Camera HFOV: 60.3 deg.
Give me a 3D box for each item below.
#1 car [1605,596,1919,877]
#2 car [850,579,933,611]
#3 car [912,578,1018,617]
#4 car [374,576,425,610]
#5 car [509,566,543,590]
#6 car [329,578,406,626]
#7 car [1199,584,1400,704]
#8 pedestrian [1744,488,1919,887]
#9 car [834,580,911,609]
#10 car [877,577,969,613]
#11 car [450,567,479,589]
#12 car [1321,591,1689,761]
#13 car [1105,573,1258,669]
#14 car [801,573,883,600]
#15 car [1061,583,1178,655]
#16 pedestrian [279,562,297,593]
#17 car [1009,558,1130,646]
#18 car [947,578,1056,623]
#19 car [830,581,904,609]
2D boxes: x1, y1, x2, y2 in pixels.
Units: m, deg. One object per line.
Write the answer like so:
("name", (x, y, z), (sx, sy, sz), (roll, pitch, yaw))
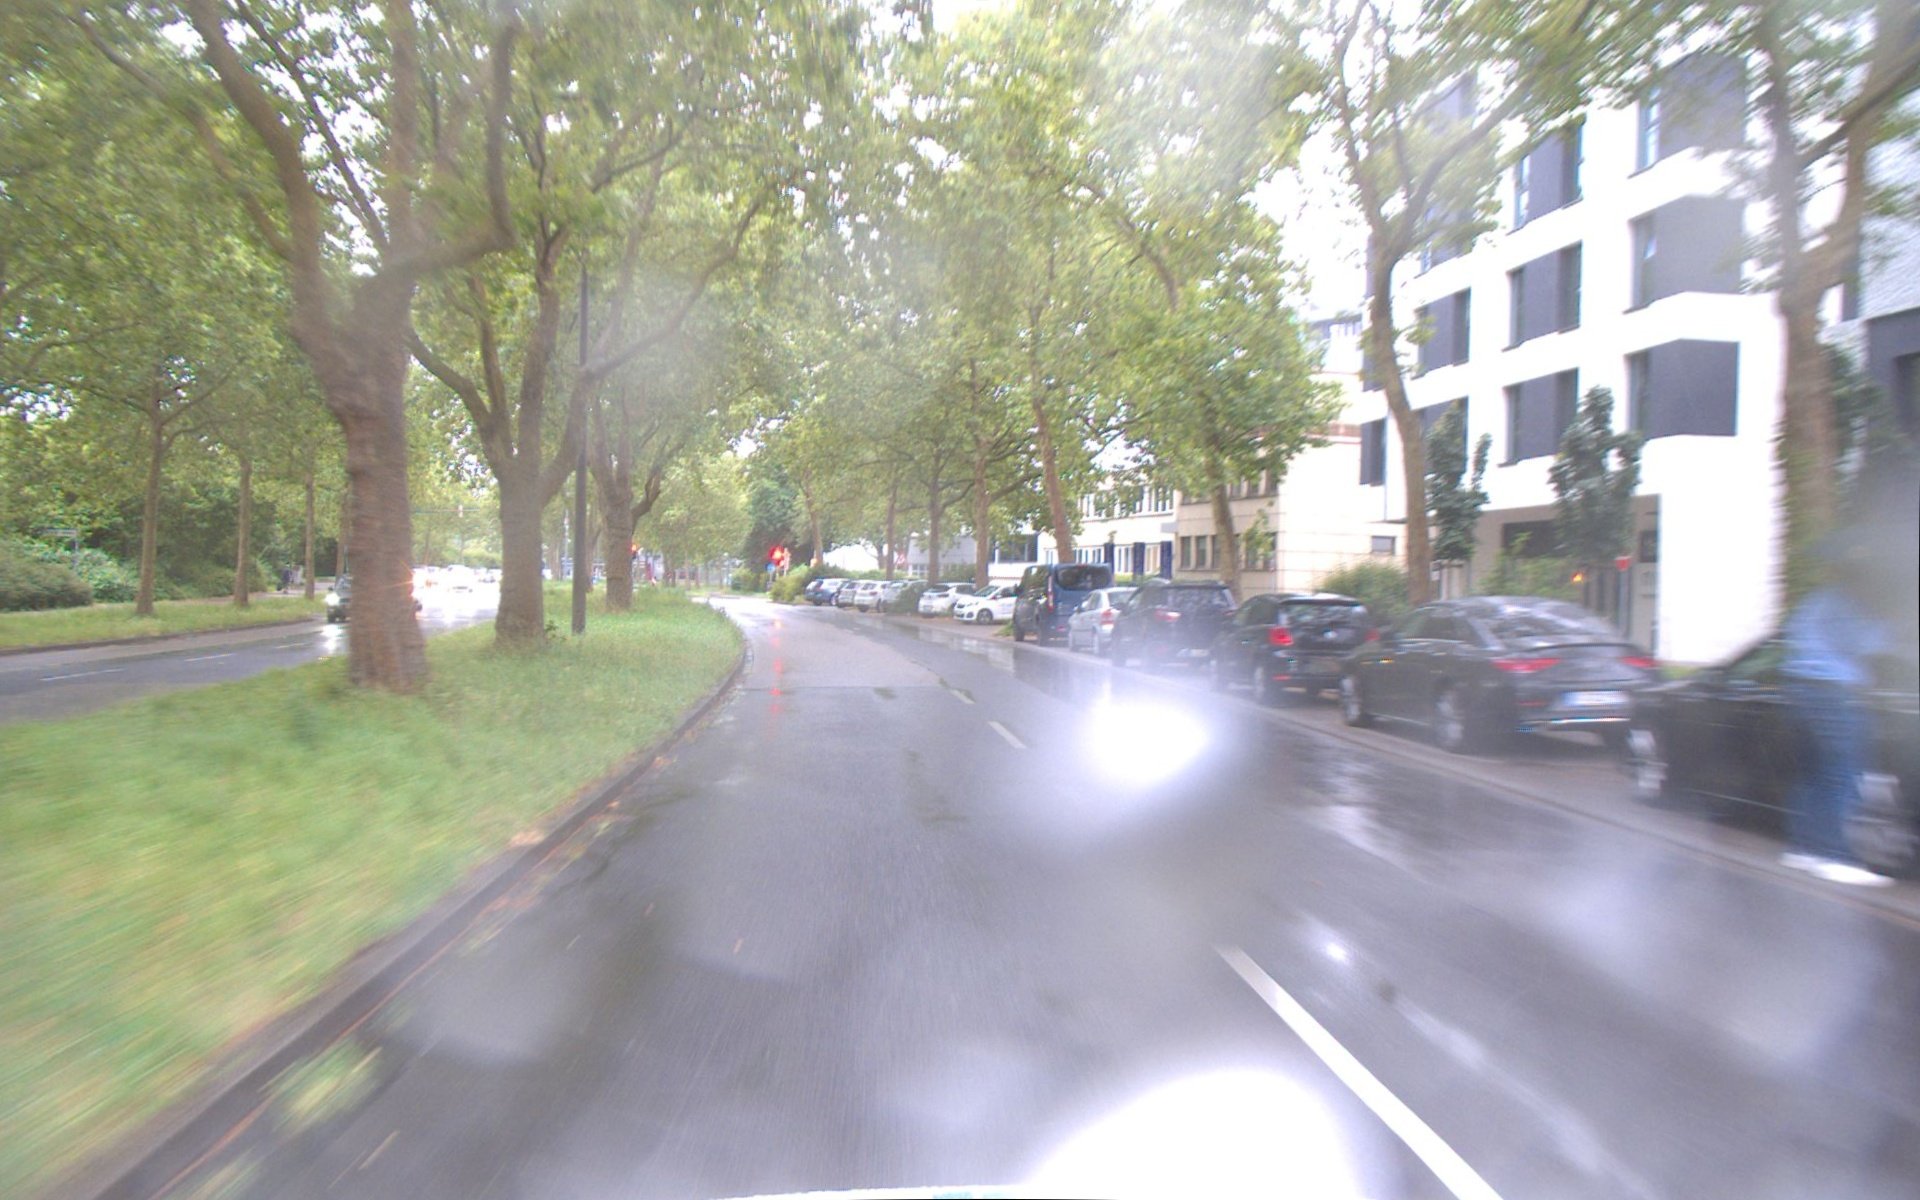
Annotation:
("car", (5.885, 0.731, 10.370), (1.708, 1.453, 4.867), (1, 0, -1))
("car", (-3.243, -0.226, 78.461), (3.656, 1.441, 1.725), (1, 0, -39))
("car", (0.219, -0.077, 64.317), (4.004, 1.453, 1.722), (1, 0, -43))
("car", (-25.628, -0.315, 75.707), (1.712, 1.485, 3.831), (1, 0, -12))
("car", (-31.627, -1.602, 120.591), (1.720, 1.679, 4.273), (1, 0, -24))
("car", (-20.655, 0.053, 57.785), (1.711, 1.588, 4.359), (1, 0, -9))
("car", (4.613, 0.542, 23.069), (1.709, 1.502, 4.079), (1, 0, -4))
("pedestrian", (4.942, 0.444, 9.112), (0.891, 2.049, 0.821), (1, 0, -41))
("car", (-4.410, -0.277, 83.870), (3.662, 1.441, 1.748), (1, 0, -43))
("car", (-1.636, -0.207, 73.508), (4.007, 1.566, 1.721), (1, 0, -44))
("car", (-35.344, -1.563, 117.902), (1.717, 1.502, 4.385), (1, 0, -19))
("car", (5.359, 0.660, 17.091), (1.709, 1.453, 5.098), (1, 0, -5))
("car", (3.938, 0.330, 30.131), (1.710, 1.594, 4.365), (1, 0, -7))
("car", (-6.583, -0.751, 92.607), (4.452, 1.484, 1.725), (1, 0, -39))
("car", (3.497, 0.387, 36.939), (1.710, 1.495, 4.299), (1, 0, -7))
("pedestrian", (-37.439, -1.227, 92.108), (0.818, 1.703, 0.895), (1, 0, -18))
("car", (2.690, 0.031, 42.213), (2.081, 2.063, 5.519), (1, 0, -7))
("car", (1.517, 0.012, 60.172), (3.591, 1.530, 1.734), (0, 2, -27))
("car", (-4.864, -0.267, 87.117), (3.662, 1.441, 1.722), (1, 0, -43))
